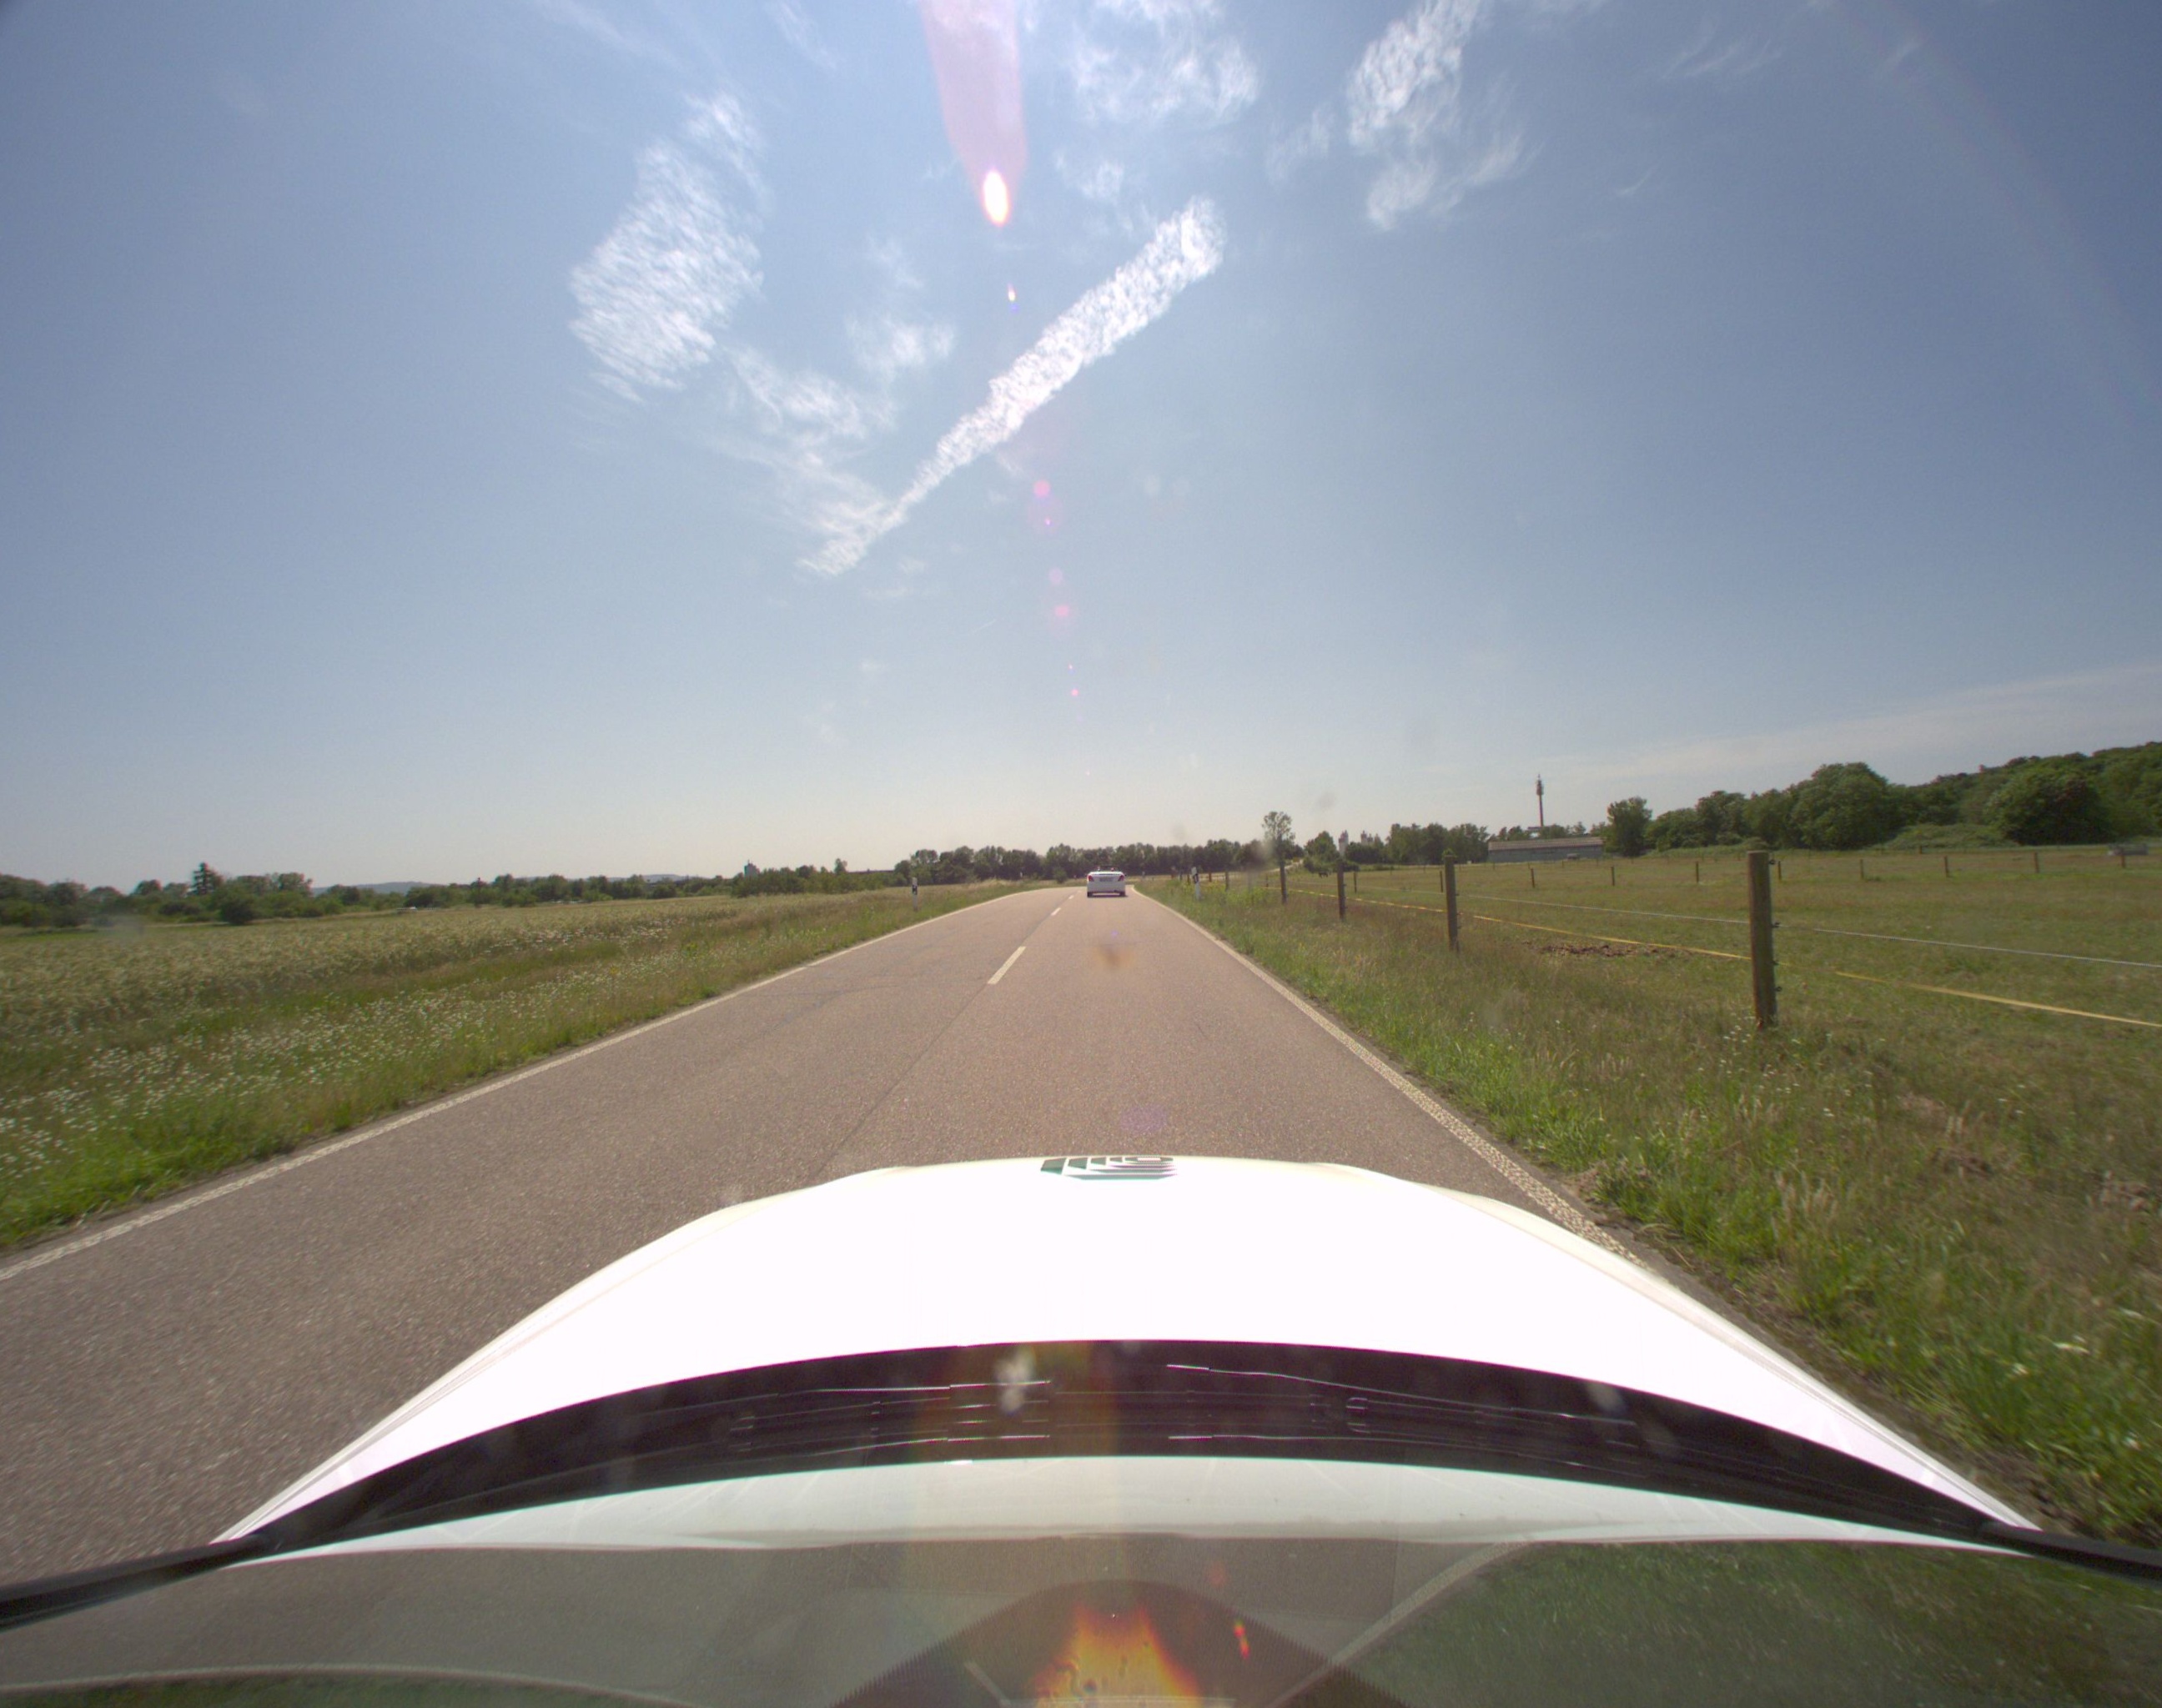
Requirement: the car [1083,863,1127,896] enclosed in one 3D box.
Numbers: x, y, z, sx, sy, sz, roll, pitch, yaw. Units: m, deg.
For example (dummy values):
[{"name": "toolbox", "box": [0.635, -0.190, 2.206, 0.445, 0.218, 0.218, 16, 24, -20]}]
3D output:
[{"name": "car", "box": [1.113, 1.127, 36.746, 1.844, 1.379, 4.001, -1, -1, 2]}]
